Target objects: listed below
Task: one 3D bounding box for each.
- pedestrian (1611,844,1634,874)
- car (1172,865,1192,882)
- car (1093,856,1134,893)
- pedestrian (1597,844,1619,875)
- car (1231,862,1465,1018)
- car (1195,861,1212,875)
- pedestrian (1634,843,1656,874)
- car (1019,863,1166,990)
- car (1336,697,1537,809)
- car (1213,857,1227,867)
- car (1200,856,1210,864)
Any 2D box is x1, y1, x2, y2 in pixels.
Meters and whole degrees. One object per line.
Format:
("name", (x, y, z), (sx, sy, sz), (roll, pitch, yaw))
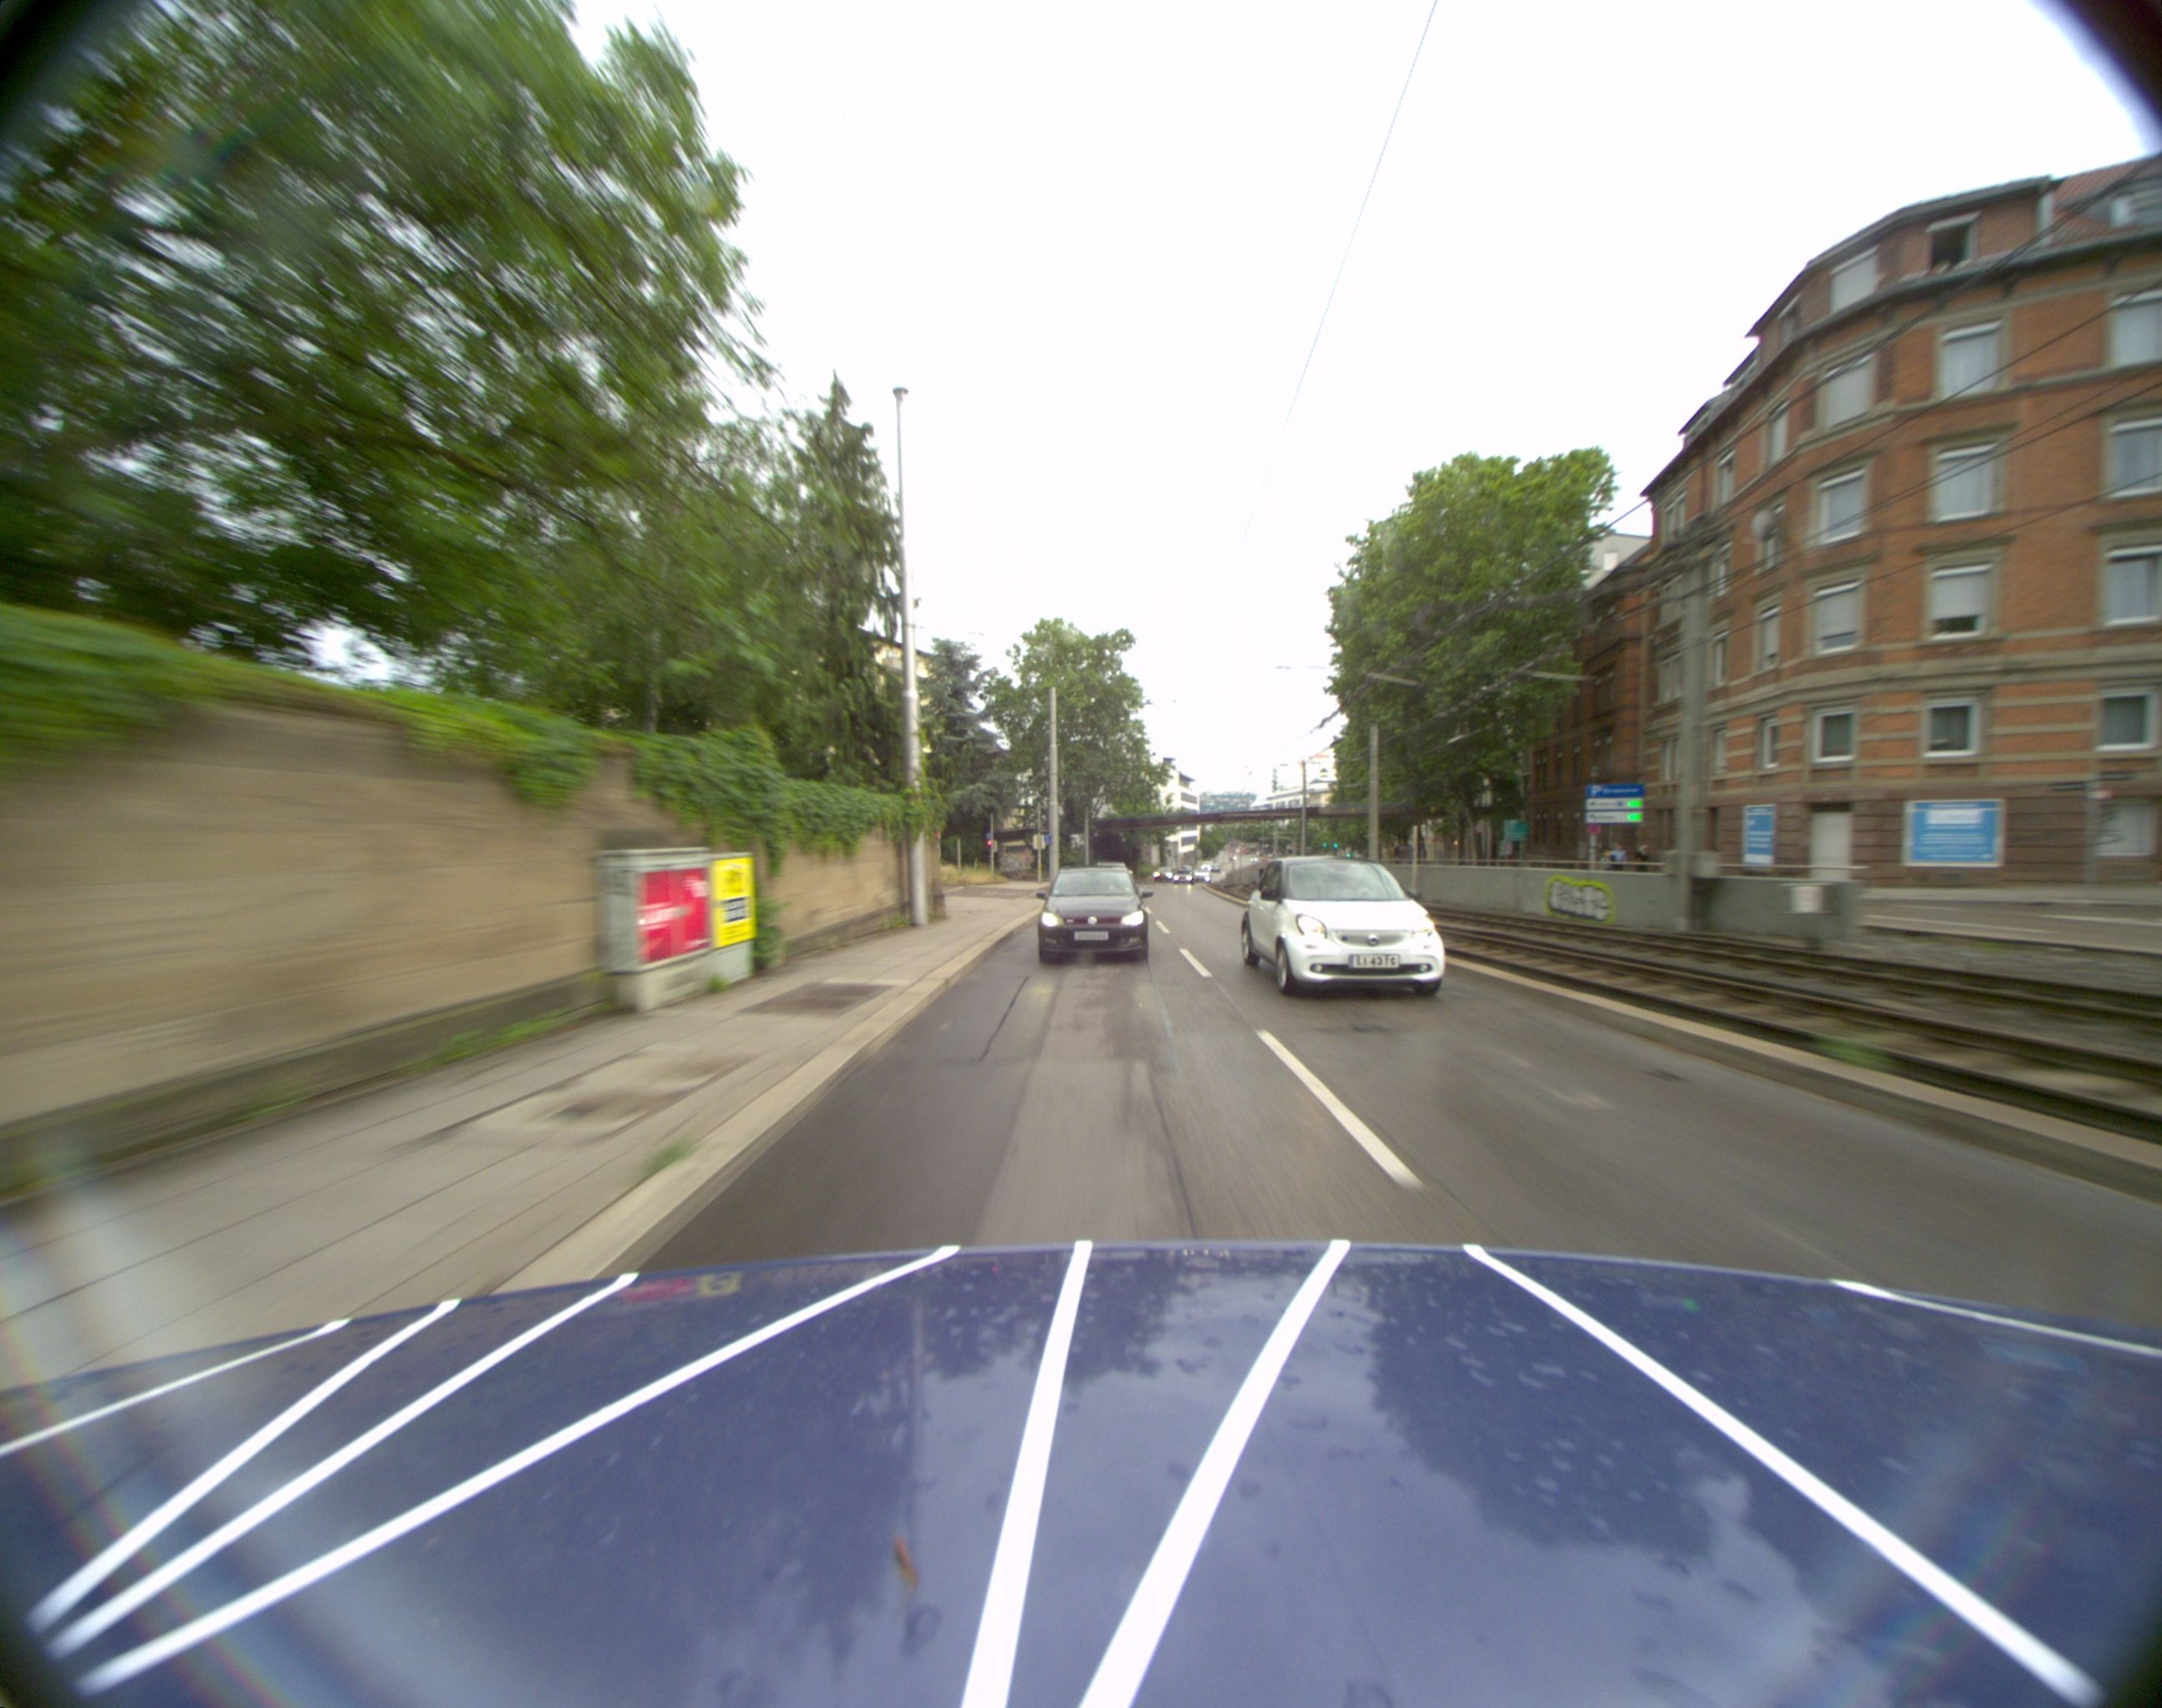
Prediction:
("pedestrian", (24.346, 0.217, 34.168), (0.620, 1.346, 0.538), (-2, 1, 1))
("car", (9.047, 1.712, 68.209), (1.640, 1.368, 3.576), (-2, 1, 9))
("car", (1.500, 0.877, 34.133), (1.657, 1.483, 3.830), (0, 0, 5))
("pedestrian", (23.524, 0.252, 33.914), (0.619, 1.346, 0.539), (-2, 1, 14))
("car", (3.034, 0.878, 9.445), (1.680, 1.522, 3.722), (-1, 0, 2))
("car", (13.430, 1.545, 83.605), (1.734, 1.368, 4.002), (-2, 1, 8))
("pedestrian", (24.924, 0.202, 33.571), (0.619, 1.346, 0.539), (-2, 1, 16))
("car", (0.176, 0.936, 11.485), (1.798, 1.477, 3.964), (-2, 0, 1))
("car", (7.877, -2.160, 17.310), (2.001, 2.002, 3.994), (-2, 1, -15))
("car", (23.158, 1.329, 126.482), (1.996, 1.368, 4.003), (-2, 1, 13))
("car", (25.597, 1.261, 156.559), (1.997, 1.608, 4.003), (-2, 1, 11))
